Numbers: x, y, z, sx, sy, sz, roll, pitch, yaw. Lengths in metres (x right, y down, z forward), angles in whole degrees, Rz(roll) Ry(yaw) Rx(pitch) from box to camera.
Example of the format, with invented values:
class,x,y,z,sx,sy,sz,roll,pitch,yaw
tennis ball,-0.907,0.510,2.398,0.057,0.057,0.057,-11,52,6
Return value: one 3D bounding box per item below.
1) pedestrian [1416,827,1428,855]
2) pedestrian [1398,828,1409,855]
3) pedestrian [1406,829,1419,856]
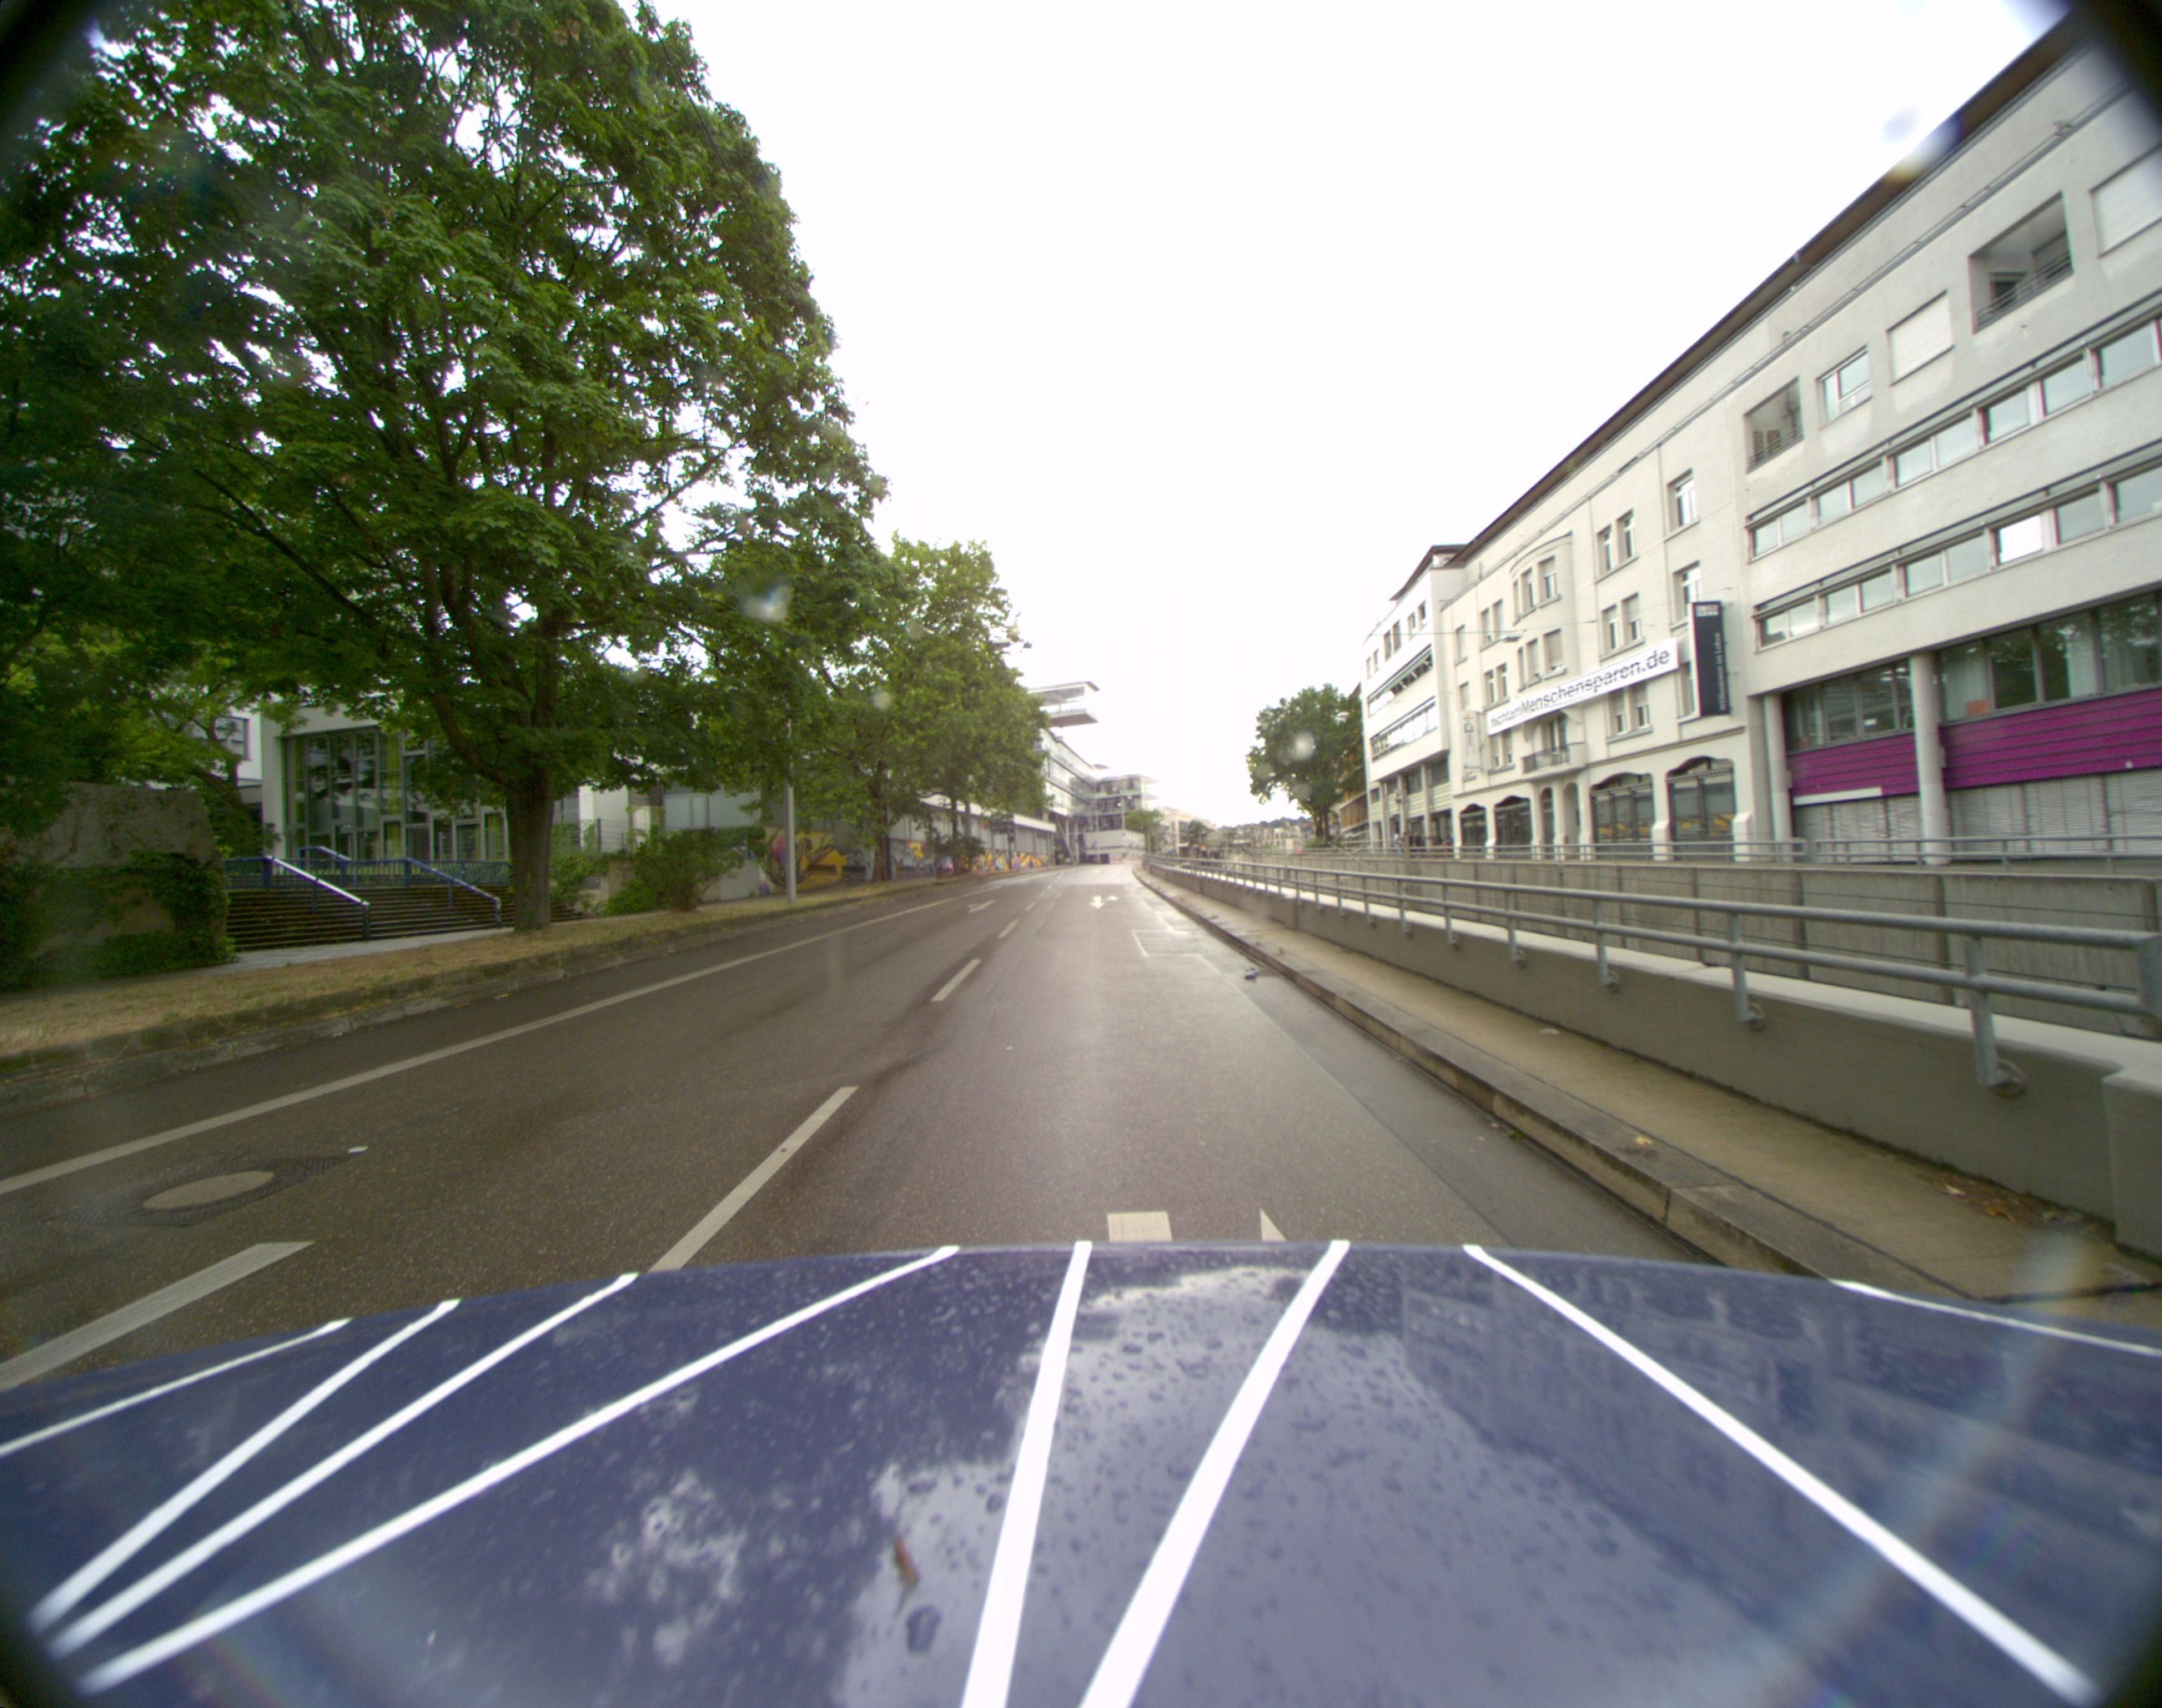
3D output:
class,x,y,z,sx,sy,sz,roll,pitch,yaw
pedestrian,22.569,-0.861,50.307,0.470,1.792,0.547,-4,1,3
pedestrian,21.818,-0.842,51.358,0.469,1.792,0.548,-4,1,8
pedestrian,22.478,-0.786,51.569,0.547,1.792,0.470,-4,1,-7
